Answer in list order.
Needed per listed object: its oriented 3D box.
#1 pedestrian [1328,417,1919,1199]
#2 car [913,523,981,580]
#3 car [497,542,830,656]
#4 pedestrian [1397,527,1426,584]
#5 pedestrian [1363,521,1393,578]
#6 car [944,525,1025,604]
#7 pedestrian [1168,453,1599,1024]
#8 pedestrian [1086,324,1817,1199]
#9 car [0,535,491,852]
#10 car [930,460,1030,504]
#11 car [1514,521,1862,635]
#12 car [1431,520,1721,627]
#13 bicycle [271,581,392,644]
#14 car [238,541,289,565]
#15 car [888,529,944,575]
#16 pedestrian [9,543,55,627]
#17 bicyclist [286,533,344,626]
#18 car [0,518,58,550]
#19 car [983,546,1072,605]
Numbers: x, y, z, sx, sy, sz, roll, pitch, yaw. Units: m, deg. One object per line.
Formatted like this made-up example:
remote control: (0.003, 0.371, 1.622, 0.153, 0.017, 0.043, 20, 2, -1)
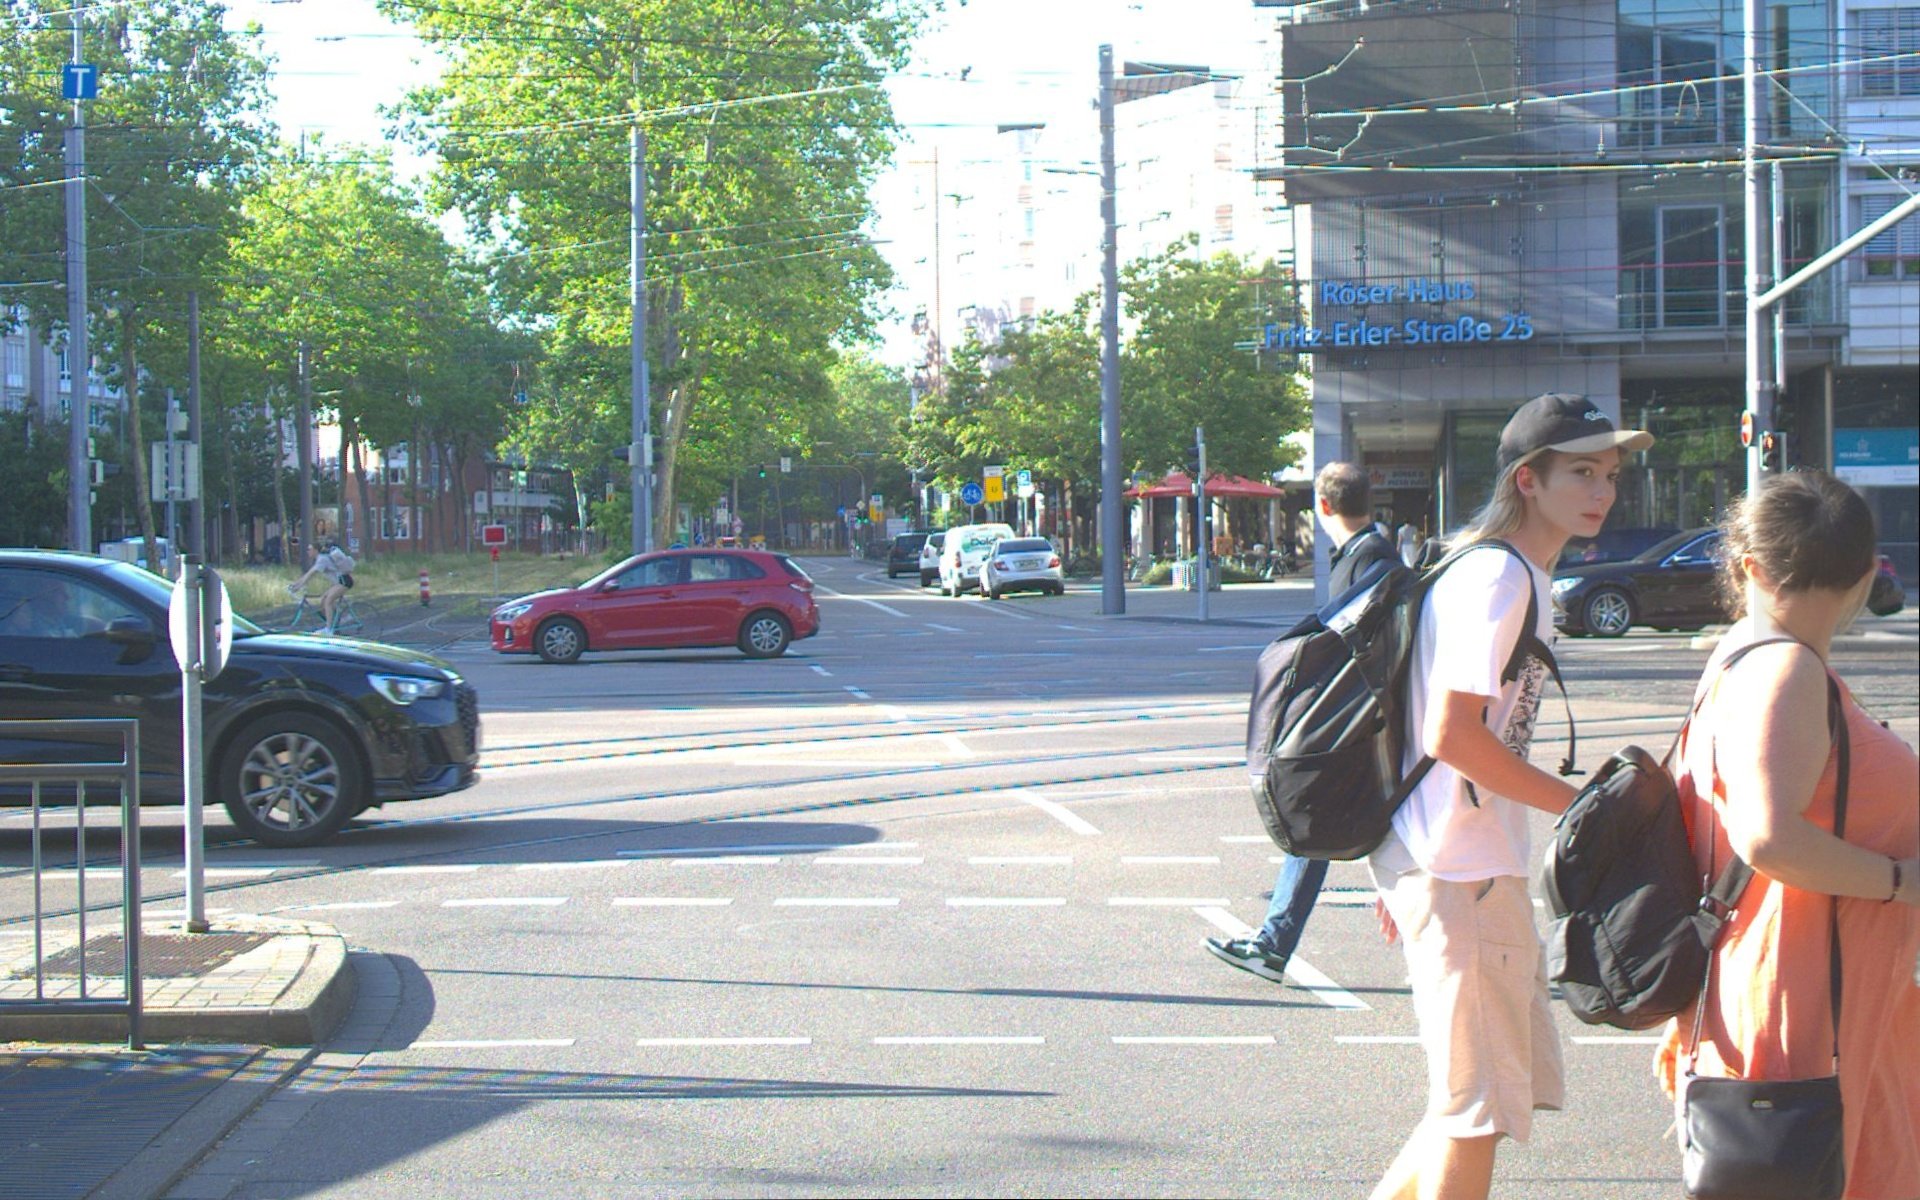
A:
pedestrian: (1.158, 0.597, 5.031, 1.072, 1.676, 0.758, 1, 0, -7)
car: (-0.410, -1.496, 105.163, 1.993, 1.656, 4.000, -1, 1, -1)
car: (-3.922, -0.032, 45.158, 4.240, 1.387, 1.796, -1, 1, -8)
pedestrian: (11.612, -1.150, 88.353, 0.706, 1.460, 0.384, -1, 1, 9)
pedestrian: (10.769, -1.312, 88.596, 0.739, 1.460, 0.536, -1, 1, 9)
car: (0.617, -0.956, 89.853, 1.993, 1.985, 4.000, -1, 1, -1)
pedestrian: (1.392, 0.444, 11.534, 1.208, 1.816, 1.042, 1, 0, -6)
pedestrian: (0.819, 0.491, 5.974, 1.073, 1.865, 0.739, 1, 0, -7)
car: (-4.818, 0.462, 18.221, 4.481, 1.577, 1.825, -1, 1, -3)
car: (0.824, -4.841, 141.397, 3.764, 1.744, 1.780, 1, 1, 14)
car: (9.858, -0.315, 46.668, 4.239, 1.429, 1.796, -1, 1, -10)
car: (9.122, -0.404, 51.031, 3.859, 1.502, 1.796, -1, 1, -7)
bicycle: (-9.375, 0.187, 51.250, 1.741, 0.896, 0.409, -1, 1, -13)
car: (-44.062, -2.986, 217.661, 1.994, 1.503, 3.999, -1, 1, 7)
car: (-1.624, -1.782, 126.880, 1.993, 1.656, 4.000, -1, 1, -1)
pedestrian: (-16.986, -0.280, 62.935, 0.754, 1.525, 0.508, 0, 1, -7)
bicyclist: (-9.605, -0.313, 51.188, 0.818, 1.362, 0.400, -1, 1, -13)
car: (-47.419, -3.304, 172.232, 3.987, 1.547, 1.607, 1, 1, -31)
car: (1.608, -0.613, 83.018, 1.993, 1.327, 4.000, -1, 1, -1)
